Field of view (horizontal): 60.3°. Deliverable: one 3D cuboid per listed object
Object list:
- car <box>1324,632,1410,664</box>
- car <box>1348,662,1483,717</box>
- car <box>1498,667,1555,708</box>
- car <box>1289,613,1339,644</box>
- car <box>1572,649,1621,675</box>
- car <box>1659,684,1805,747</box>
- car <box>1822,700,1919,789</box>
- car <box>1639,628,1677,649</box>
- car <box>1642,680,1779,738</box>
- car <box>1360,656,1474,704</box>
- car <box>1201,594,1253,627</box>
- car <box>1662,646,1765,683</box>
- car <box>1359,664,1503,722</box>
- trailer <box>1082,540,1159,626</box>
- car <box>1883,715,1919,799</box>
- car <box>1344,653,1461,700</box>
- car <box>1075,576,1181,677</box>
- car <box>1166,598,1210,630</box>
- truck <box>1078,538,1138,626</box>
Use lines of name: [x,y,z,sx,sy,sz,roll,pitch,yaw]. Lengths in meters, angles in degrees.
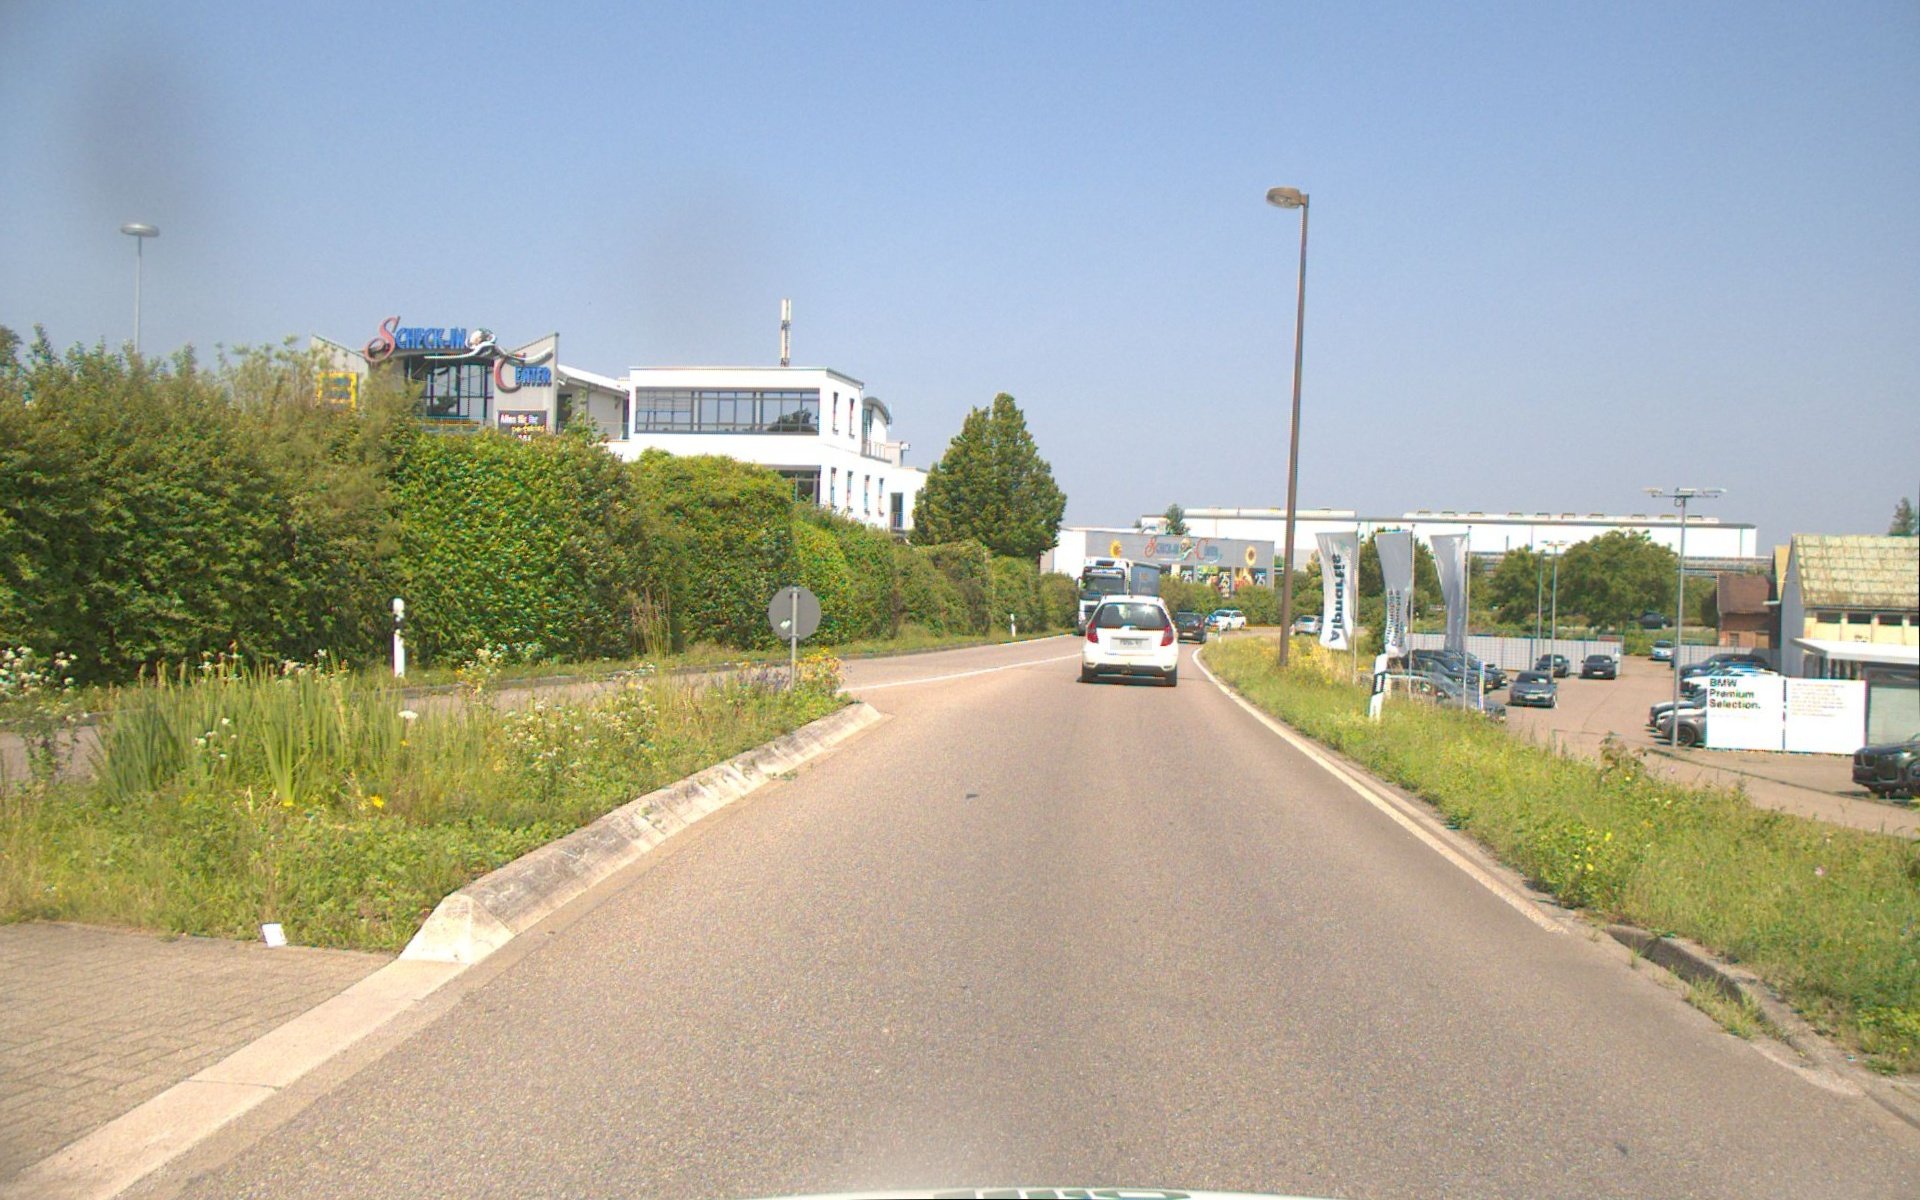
car: [24.134,2.823,98.052,4.552,1.632,1.849,3,1,37]
car: [15.625,3.032,56.783,4.091,1.549,1.744,3,0,37]
car: [24.554,3.766,71.588,2.092,1.482,4.532,3,0,21]
car: [25.545,2.089,119.305,1.962,2.048,3.982,3,0,37]
car: [38.325,3.721,99.522,1.959,1.422,3.988,3,0,33]
car: [23.377,3.461,50.142,3.727,1.549,1.745,3,0,35]
car: [20.805,3.075,34.639,4.390,1.668,2.147,3,-1,-2]
car: [53.066,2.935,125.634,1.959,1.422,3.988,3,0,33]
car: [24.243,3.496,53.438,3.883,1.549,1.748,2,0,29]
car: [20.464,3.558,74.136,4.561,1.730,1.845,3,2,42]
car: [17.804,0.715,110.111,1.957,2.048,3.990,3,0,31]
car: [37.474,3.180,82.293,4.238,1.549,1.911,2,1,-3]
car: [15.192,2.975,53.453,4.098,1.549,1.680,3,0,42]
trailer: [9.253,-0.833,93.439,2.613,4.314,14.577,3,0,11]
car: [20.470,3.103,32.196,3.906,1.579,1.999,1,-2,-2]
car: [17.707,3.041,66.182,4.091,1.549,1.848,3,0,37]
car: [3.187,0.455,30.883,1.744,1.631,3.896,4,1,7]
car: [11.602,0.698,83.981,1.790,1.496,4.413,3,0,12]
truck: [7.744,-0.894,85.825,2.459,4.332,6.118,2,0,10]
